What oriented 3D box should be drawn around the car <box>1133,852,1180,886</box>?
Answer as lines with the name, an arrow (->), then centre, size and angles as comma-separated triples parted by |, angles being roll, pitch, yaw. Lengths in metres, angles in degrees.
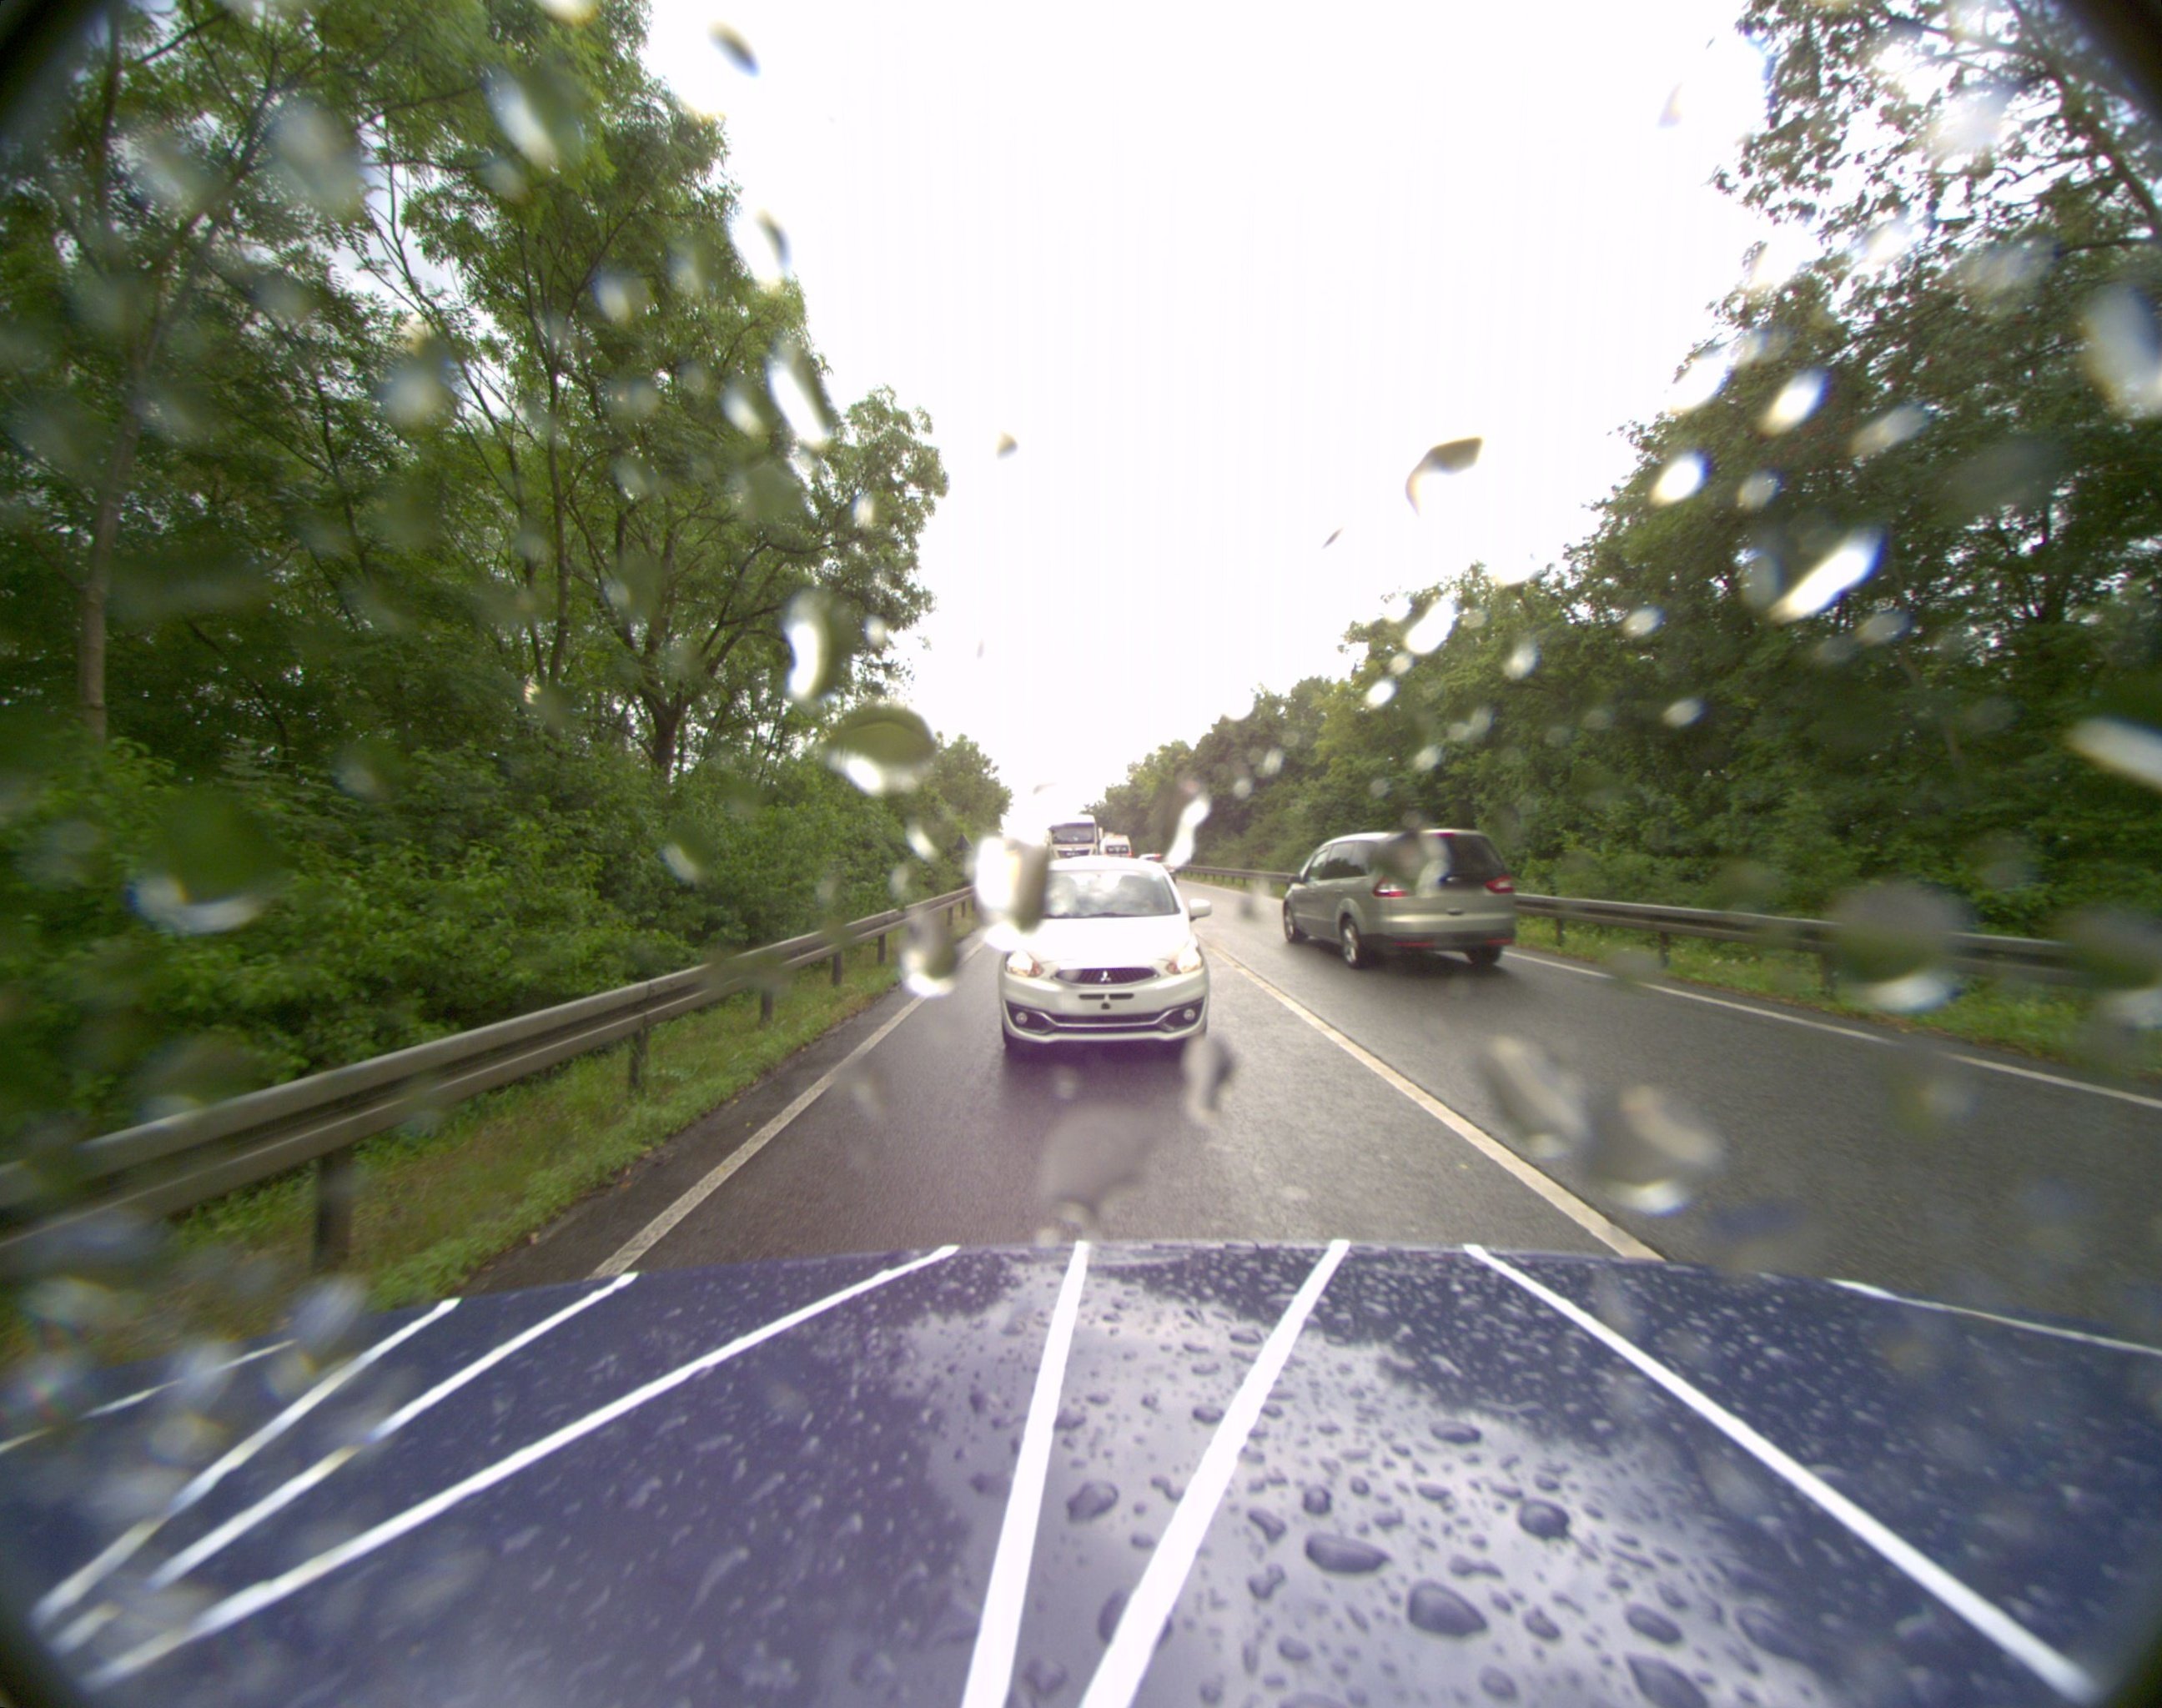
car -> 3.534, 0.667, 36.144 | 1.733, 1.423, 3.848 | -2, 1, -1

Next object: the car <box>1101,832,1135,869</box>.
car -> 2.857, -0.317, 59.922 | 2.053, 2.661, 6.169 | -2, 1, -2

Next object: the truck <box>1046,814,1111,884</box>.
truck -> -0.279, -0.320, 42.662 | 3.137, 3.364, 9.279 | -2, 1, -2

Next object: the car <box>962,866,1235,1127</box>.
car -> 0.127, 0.905, 6.732 | 1.610, 1.435, 4.208 | -2, 1, 0

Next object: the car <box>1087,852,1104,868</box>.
car -> 1.584, 0.620, 83.914 | 1.696, 1.547, 4.440 | -2, 1, -2

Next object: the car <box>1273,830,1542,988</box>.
car -> 4.173, 0.567, 10.657 | 1.819, 1.676, 4.622 | -2, 1, 1

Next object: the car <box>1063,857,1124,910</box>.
car -> 0.303, 0.826, 23.611 | 1.641, 1.413, 4.491 | -2, 0, -1
